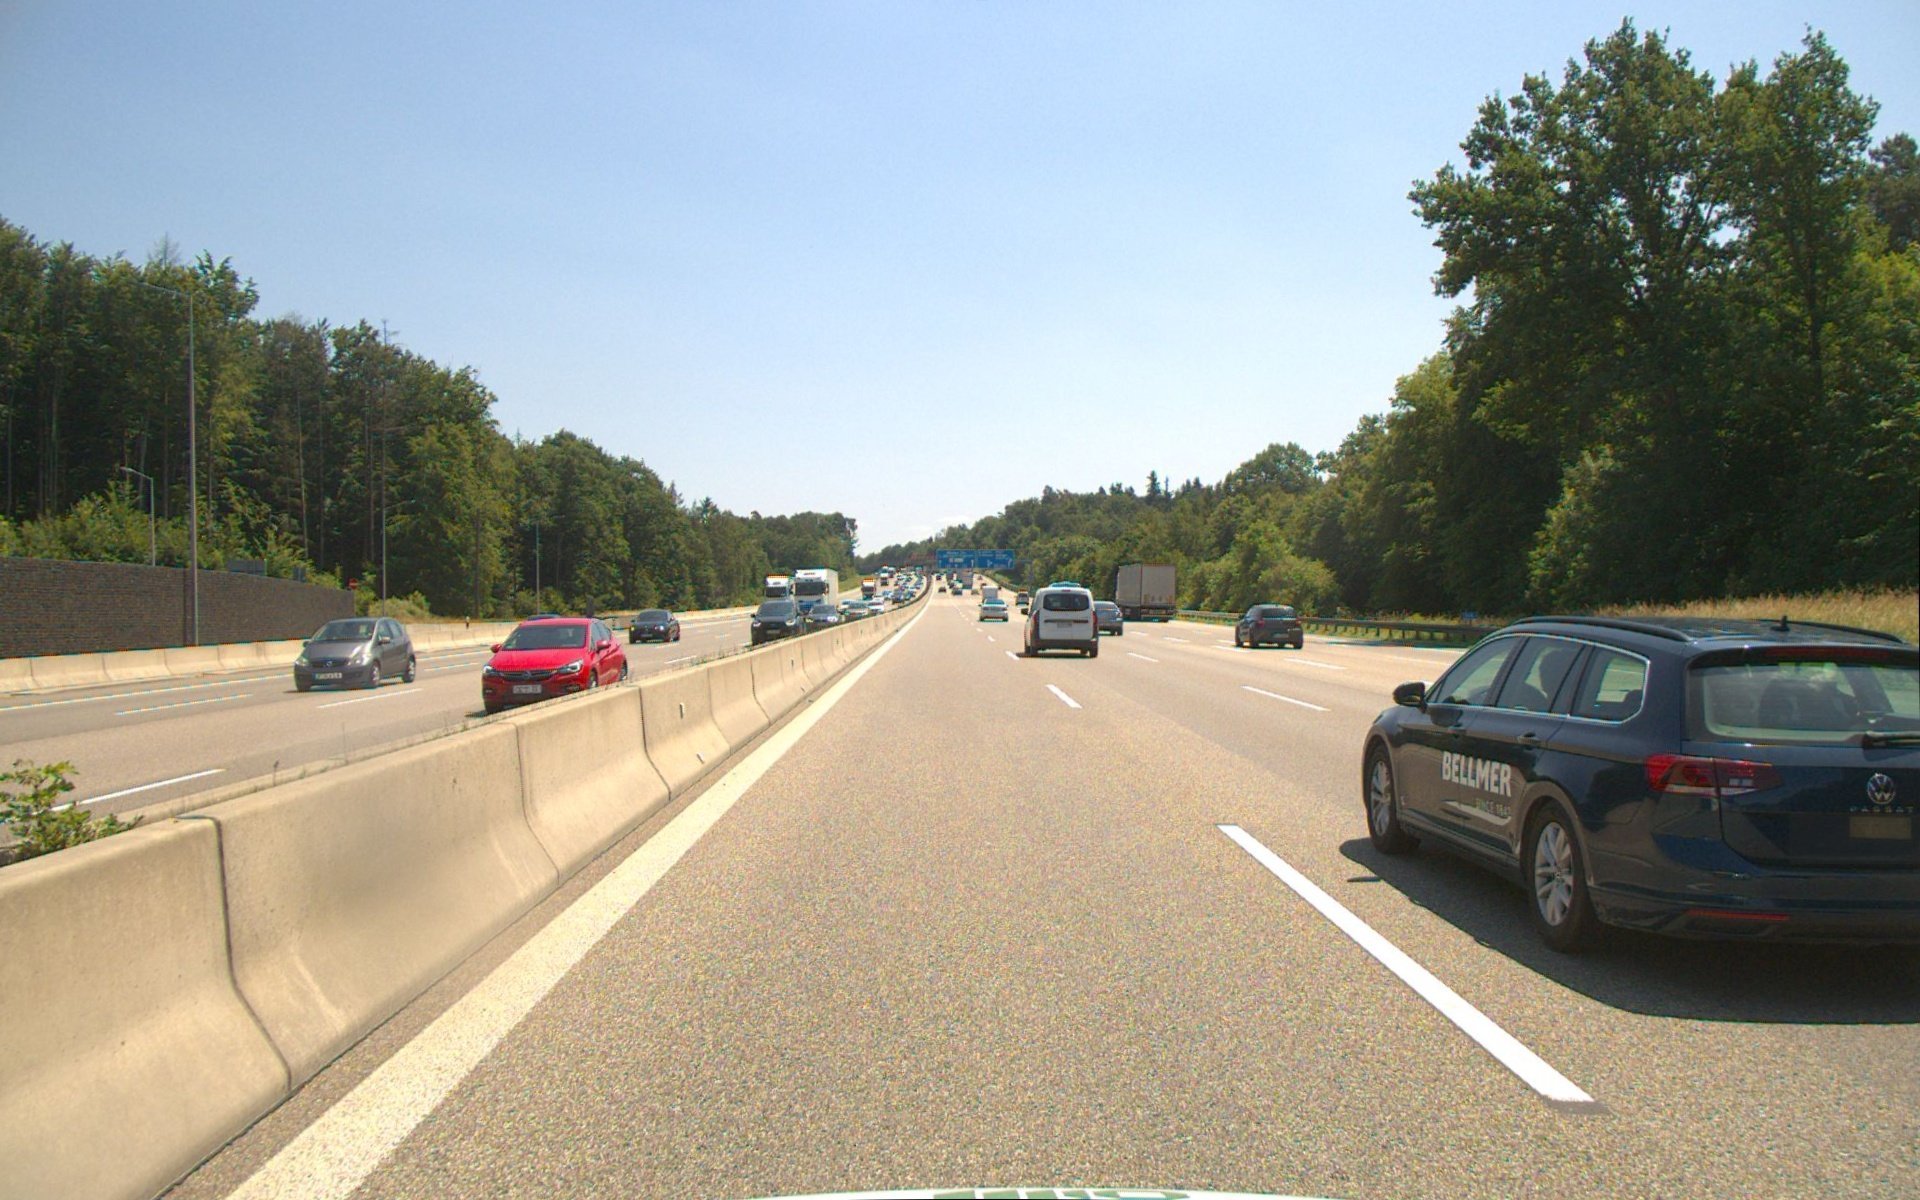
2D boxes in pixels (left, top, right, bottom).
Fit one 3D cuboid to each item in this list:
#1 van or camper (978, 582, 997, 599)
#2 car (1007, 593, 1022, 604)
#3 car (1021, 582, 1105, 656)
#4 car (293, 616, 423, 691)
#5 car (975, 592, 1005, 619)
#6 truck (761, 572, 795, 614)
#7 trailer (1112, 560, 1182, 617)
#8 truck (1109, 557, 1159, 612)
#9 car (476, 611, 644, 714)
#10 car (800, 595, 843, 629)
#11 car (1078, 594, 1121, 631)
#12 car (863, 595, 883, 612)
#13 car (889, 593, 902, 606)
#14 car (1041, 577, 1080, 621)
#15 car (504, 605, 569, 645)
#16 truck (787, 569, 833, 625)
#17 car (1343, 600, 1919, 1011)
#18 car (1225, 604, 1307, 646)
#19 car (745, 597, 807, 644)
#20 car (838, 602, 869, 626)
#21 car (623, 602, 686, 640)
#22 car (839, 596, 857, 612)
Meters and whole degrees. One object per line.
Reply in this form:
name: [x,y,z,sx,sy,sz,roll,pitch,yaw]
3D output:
van or camper: [4.142,-1.420,250.352,2.591,2.583,6.501,-1,0,-1]
car: [7.442,-0.232,226.647,1.798,1.361,3.642,-2,0,-1]
car: [2.720,0.485,44.690,1.822,1.857,4.611,-1,0,-1]
car: [-13.926,1.194,38.469,1.687,1.582,4.055,-1,0,-3]
car: [1.963,0.360,110.060,1.805,1.657,4.552,-2,0,-1]
truck: [-19.385,-0.727,176.518,2.778,4.271,10.591,-1,0,-2]
trailer: [13.689,-0.938,122.540,3.221,3.999,13.888,1,1,-1]
truck: [13.550,-1.255,129.141,3.188,4.178,5.987,1,1,-1]
car: [-6.757,0.997,28.467,1.695,1.540,5.043,-1,0,-1]
car: [-7.391,0.620,88.724,1.953,1.692,4.969,-2,0,-2]
car: [6.054,0.516,71.874,1.473,1.526,3.649,-2,0,-1]
car: [-7.786,0.302,148.099,1.712,1.483,4.154,-1,0,-3]
car: [-9.716,-0.090,250.185,1.859,1.988,5.655,-2,0,-1]
car: [6.413,-0.082,105.858,2.100,2.698,5.709,0,1,-1]
car: [-18.830,1.090,73.725,1.953,1.649,4.212,-1,0,-2]
truck: [-11.704,-0.222,129.762,2.985,4.209,6.947,-2,0,-1]
car: [3.420,0.764,8.571,1.694,1.472,4.961,1,0,0]
car: [10.163,0.810,55.239,1.637,1.296,4.286,1,0,-4]
car: [-7.131,0.755,64.550,1.954,1.692,5.752,-2,0,-2]
car: [-7.451,0.938,115.678,1.954,1.513,5.133,-3,0,-2]
car: [-14.151,0.959,76.880,1.953,1.649,5.753,-1,0,-2]
car: [-11.590,0.401,171.487,1.688,1.533,4.459,-1,0,-3]
